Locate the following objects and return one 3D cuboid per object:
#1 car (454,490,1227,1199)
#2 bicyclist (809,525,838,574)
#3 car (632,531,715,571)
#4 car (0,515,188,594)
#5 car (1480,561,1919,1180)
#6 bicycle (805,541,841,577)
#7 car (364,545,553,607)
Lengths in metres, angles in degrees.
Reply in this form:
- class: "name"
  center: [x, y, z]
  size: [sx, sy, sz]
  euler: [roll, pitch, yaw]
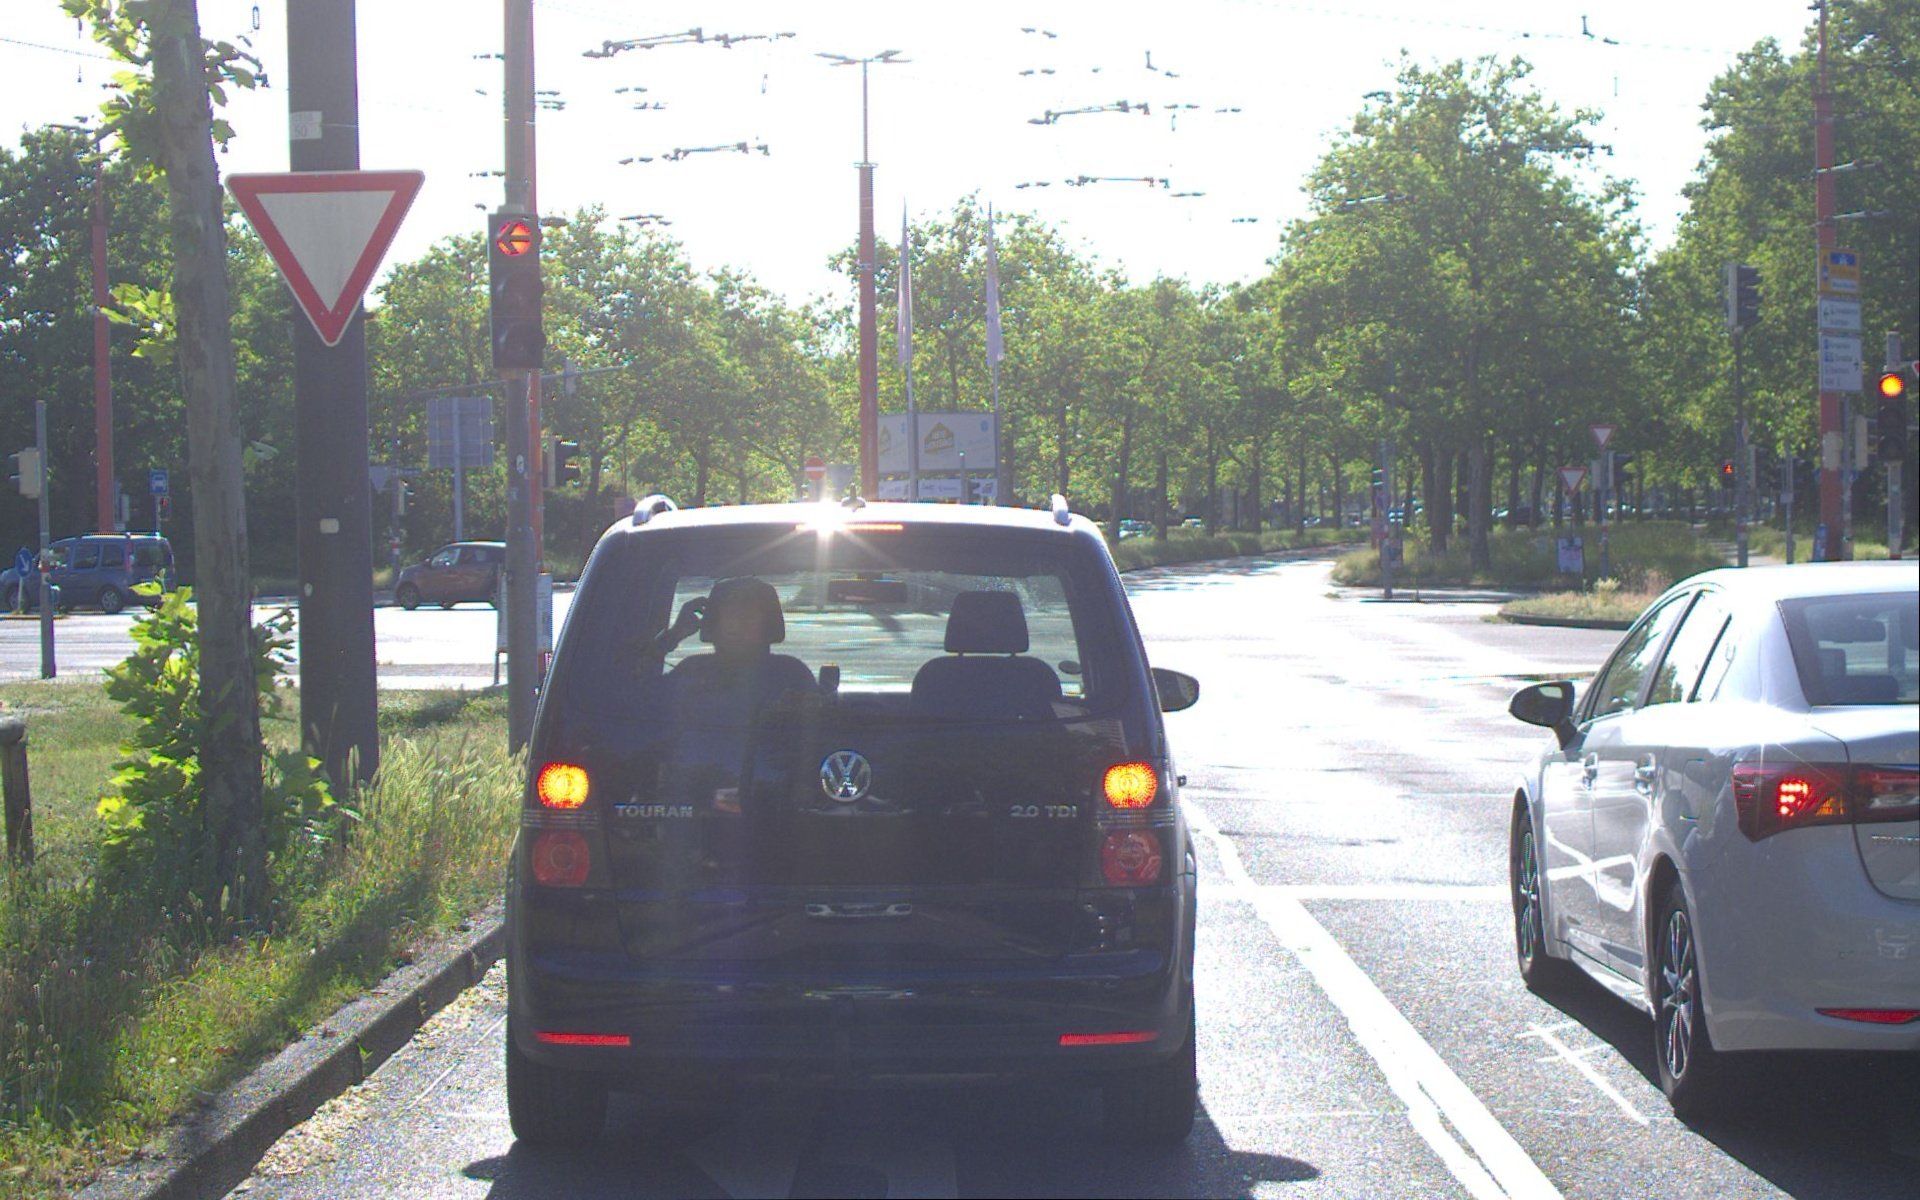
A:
- class: "car"
  center: [-0.254, 0.538, 9.982]
  size: [1.738, 1.597, 4.326]
  euler: [1, 1, 1]
- class: "bicyclist"
  center: [-5.319, -1.978, 134.004]
  size: [0.976, 1.897, 1.050]
  euler: [0, 1, 6]
- class: "car"
  center: [-10.049, -1.736, 120.786]
  size: [1.652, 1.398, 4.130]
  euler: [0, 1, 14]
- class: "car"
  center: [-20.065, -1.065, 79.374]
  size: [4.124, 1.784, 1.796]
  euler: [1, 1, 24]
- class: "car"
  center: [2.756, 0.618, 10.161]
  size: [1.799, 1.435, 4.326]
  euler: [1, 1, 1]
- class: "bicycle"
  center: [-5.326, -1.600, 133.969]
  size: [0.976, 1.384, 2.979]
  euler: [0, 1, 6]
- class: "car"
  center: [-11.713, -0.581, 80.259]
  size: [4.124, 1.398, 1.654]
  euler: [1, 1, 25]
